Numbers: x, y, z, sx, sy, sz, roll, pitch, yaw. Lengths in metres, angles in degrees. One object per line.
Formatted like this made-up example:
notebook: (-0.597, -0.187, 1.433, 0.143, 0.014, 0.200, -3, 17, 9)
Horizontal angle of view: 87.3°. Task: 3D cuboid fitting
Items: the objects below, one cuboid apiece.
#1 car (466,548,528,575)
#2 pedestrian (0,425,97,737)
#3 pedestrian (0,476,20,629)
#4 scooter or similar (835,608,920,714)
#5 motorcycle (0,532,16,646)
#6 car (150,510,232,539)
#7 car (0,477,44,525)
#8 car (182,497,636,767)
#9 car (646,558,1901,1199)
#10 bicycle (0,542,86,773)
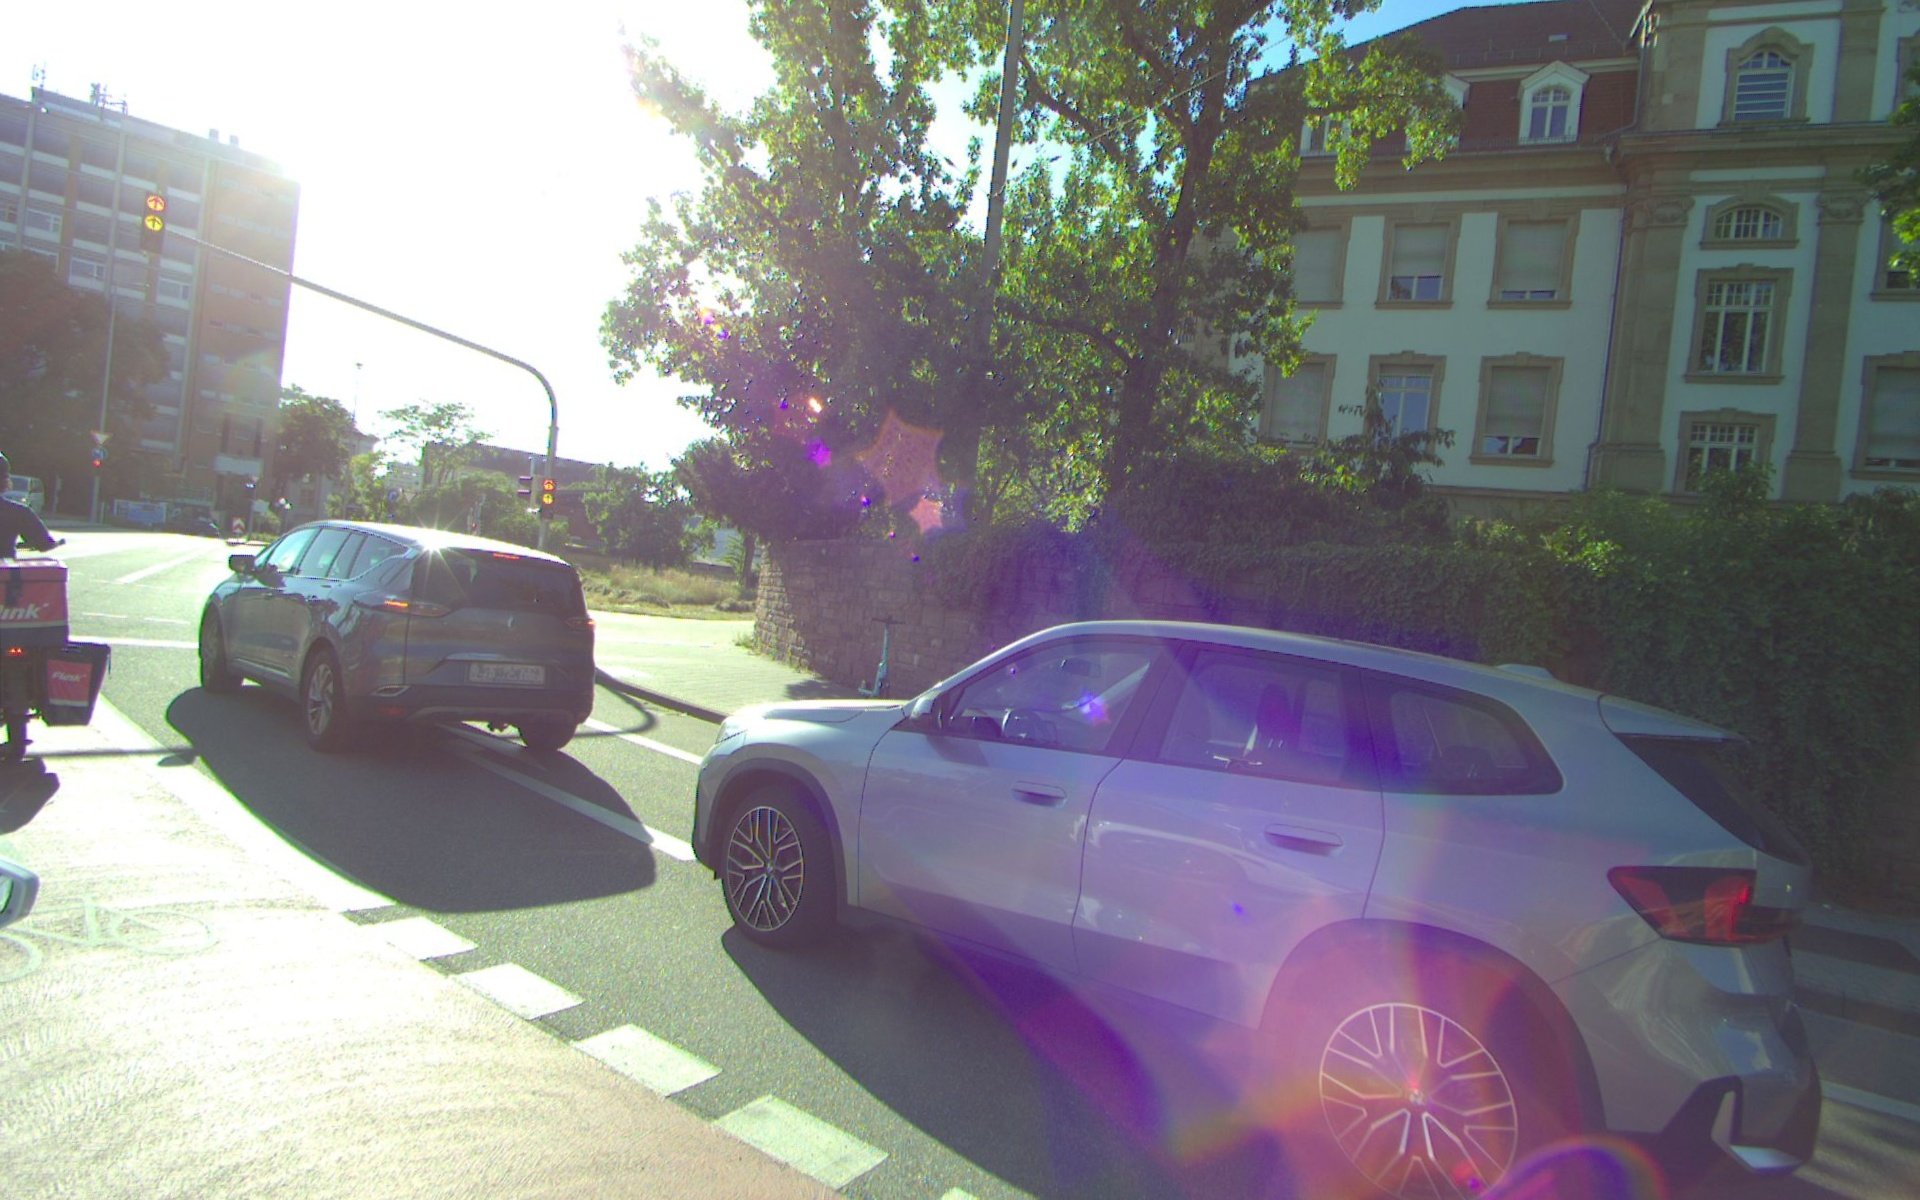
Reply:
car: (-34.421, -2.845, 74.812, 3.957, 1.549, 1.790, 6, 1, -32)
pedestrian: (-6.220, -0.147, 6.394, 0.943, 1.890, 0.806, 6, -1, 40)
pedestrian: (-8.714, -0.302, 8.748, 0.585, 1.617, 1.013, 8, -1, -41)
scooter or similar: (-1.159, 0.819, 13.882, 0.569, 1.285, 1.414, 6, 0, -27)
motorcycle: (-8.939, -0.083, 8.922, 0.611, 1.110, 2.334, 8, -2, -41)
car: (-55.416, -5.405, 72.579, 4.338, 1.549, 1.794, 6, 1, -26)
car: (-42.990, -4.498, 45.331, 1.897, 1.970, 4.660, 4, 1, -36)
car: (-4.841, 0.162, 8.556, 4.307, 1.709, 1.830, 6, -2, 40)
car: (0.822, 0.882, 4.243, 4.263, 1.612, 1.788, 6, -2, 37)
bicycle: (-5.994, 0.255, 6.179, 2.340, 1.185, 0.553, 6, -2, 42)
